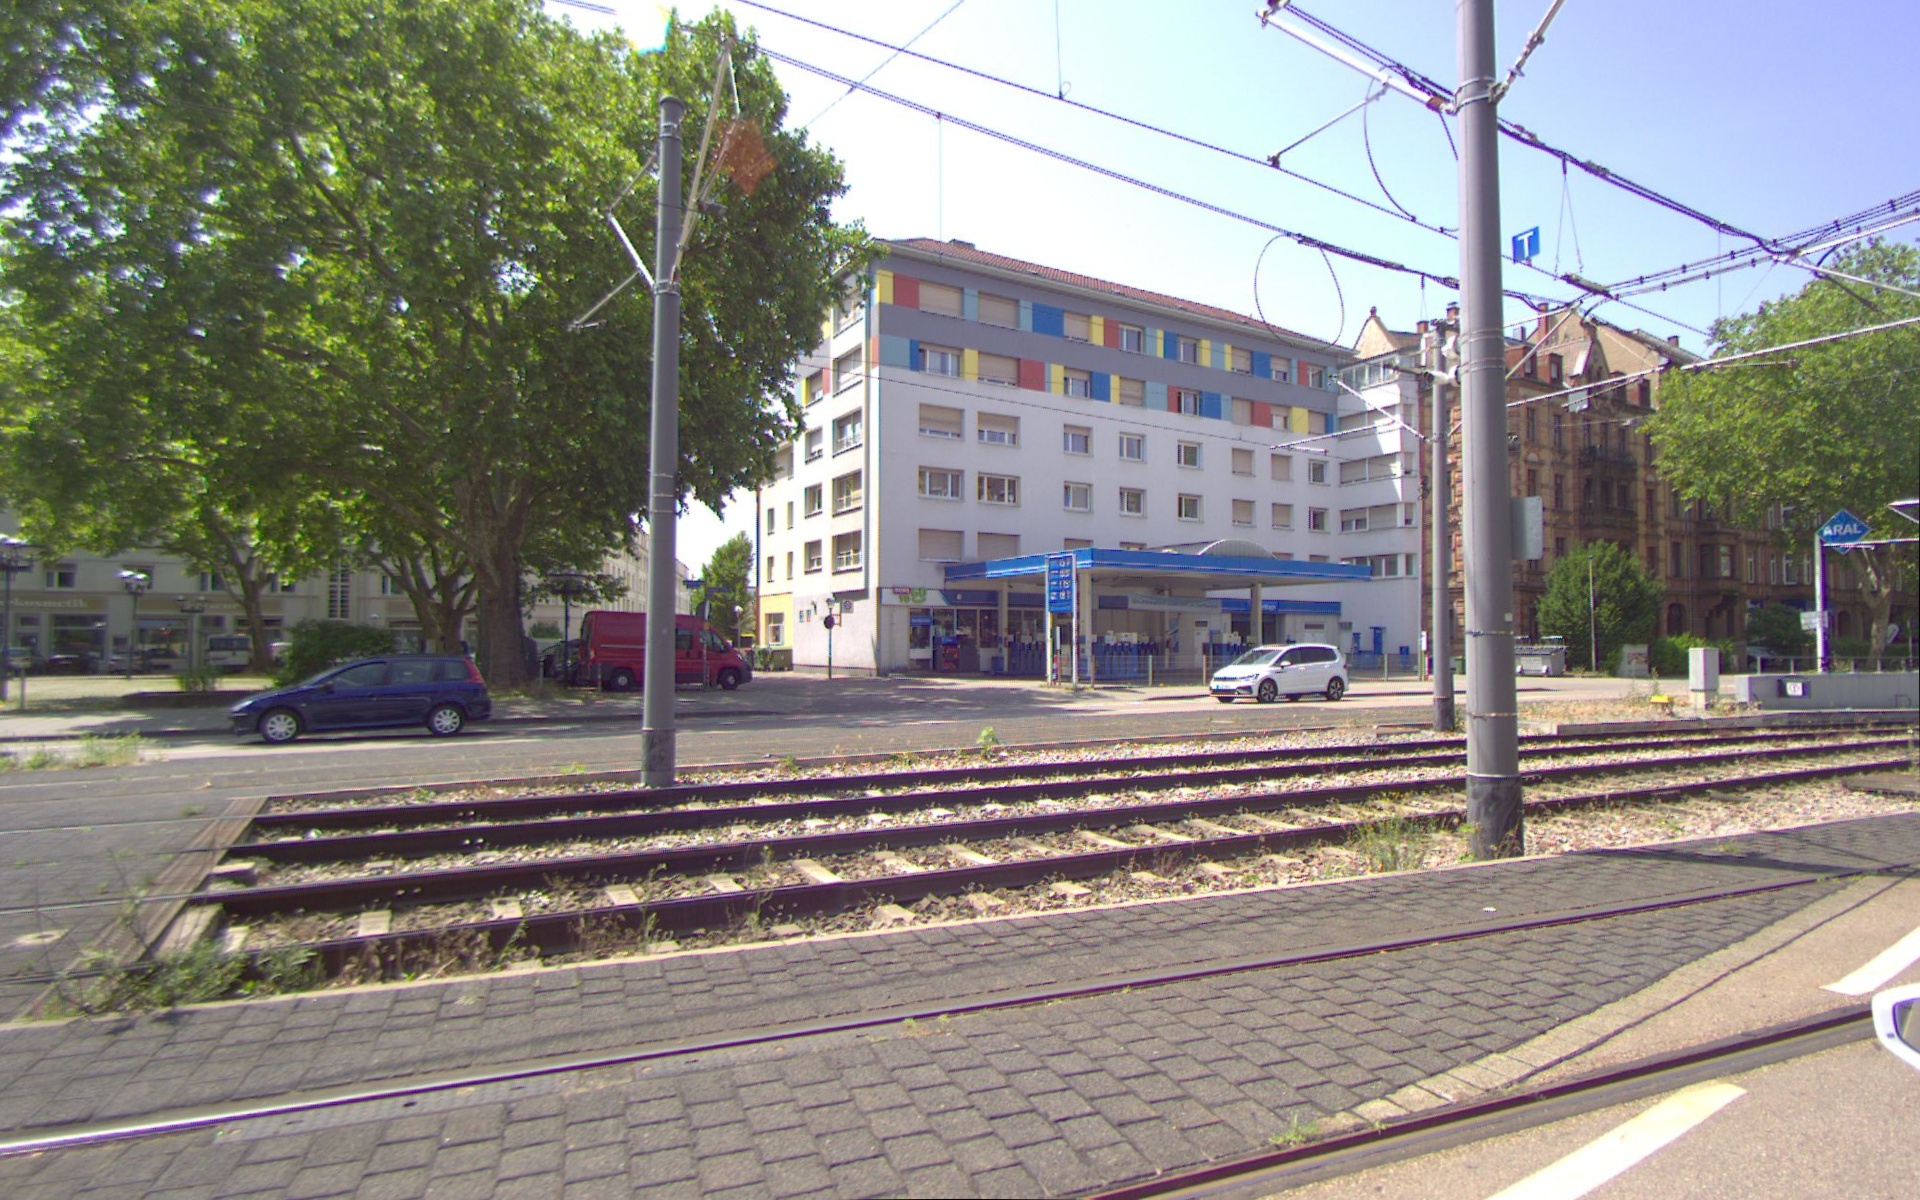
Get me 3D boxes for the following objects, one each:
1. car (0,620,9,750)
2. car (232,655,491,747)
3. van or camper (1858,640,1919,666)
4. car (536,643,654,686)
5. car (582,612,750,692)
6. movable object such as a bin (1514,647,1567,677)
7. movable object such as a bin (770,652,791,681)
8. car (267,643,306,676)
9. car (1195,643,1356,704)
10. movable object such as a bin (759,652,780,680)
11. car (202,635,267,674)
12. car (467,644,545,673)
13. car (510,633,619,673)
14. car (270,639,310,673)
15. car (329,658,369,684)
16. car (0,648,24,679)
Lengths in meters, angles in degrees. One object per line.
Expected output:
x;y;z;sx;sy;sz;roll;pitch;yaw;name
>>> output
-16.593;1.255;13.828;4.752;2.017;1.768;1;-3;-32;car
-10.401;1.723;17.695;3.739;1.438;1.589;1;-4;-31;car
69.446;3.922;74.026;1.905;1.861;4.532;1;-2;-24;van or camper
-13.914;2.430;38.330;3.954;1.546;1.854;1;-2;-31;car
-9.490;1.666;32.568;4.925;2.424;1.837;2;-3;-32;car
28.173;2.974;48.773;1.454;1.403;1.773;2;-3;-32;movable object such as a bin
-9.957;3.679;55.776;1.007;1.581;0.558;1;-2;-30;movable object such as a bin
-42.925;3.740;64.053;1.553;1.975;3.901;1;-2;-26;car
9.171;2.093;29.126;4.548;1.646;1.839;1;-4;-30;car
-10.677;3.692;56.270;1.007;1.581;0.558;1;-2;-30;movable object such as a bin
-38.668;2.892;53.654;2.138;1.975;3.973;1;-2;-27;car
-26.700;3.430;59.107;3.955;1.631;1.984;2;-3;-31;car
-20.899;2.786;53.171;5.058;2.016;1.904;1;-3;-36;car
-36.681;3.027;55.036;1.603;1.769;3.678;1;-2;-31;car
-33.925;3.907;55.836;1.807;1.310;3.839;1;-3;-31;car
-47.482;3.096;49.151;1.603;1.428;3.895;1;-2;-31;car
